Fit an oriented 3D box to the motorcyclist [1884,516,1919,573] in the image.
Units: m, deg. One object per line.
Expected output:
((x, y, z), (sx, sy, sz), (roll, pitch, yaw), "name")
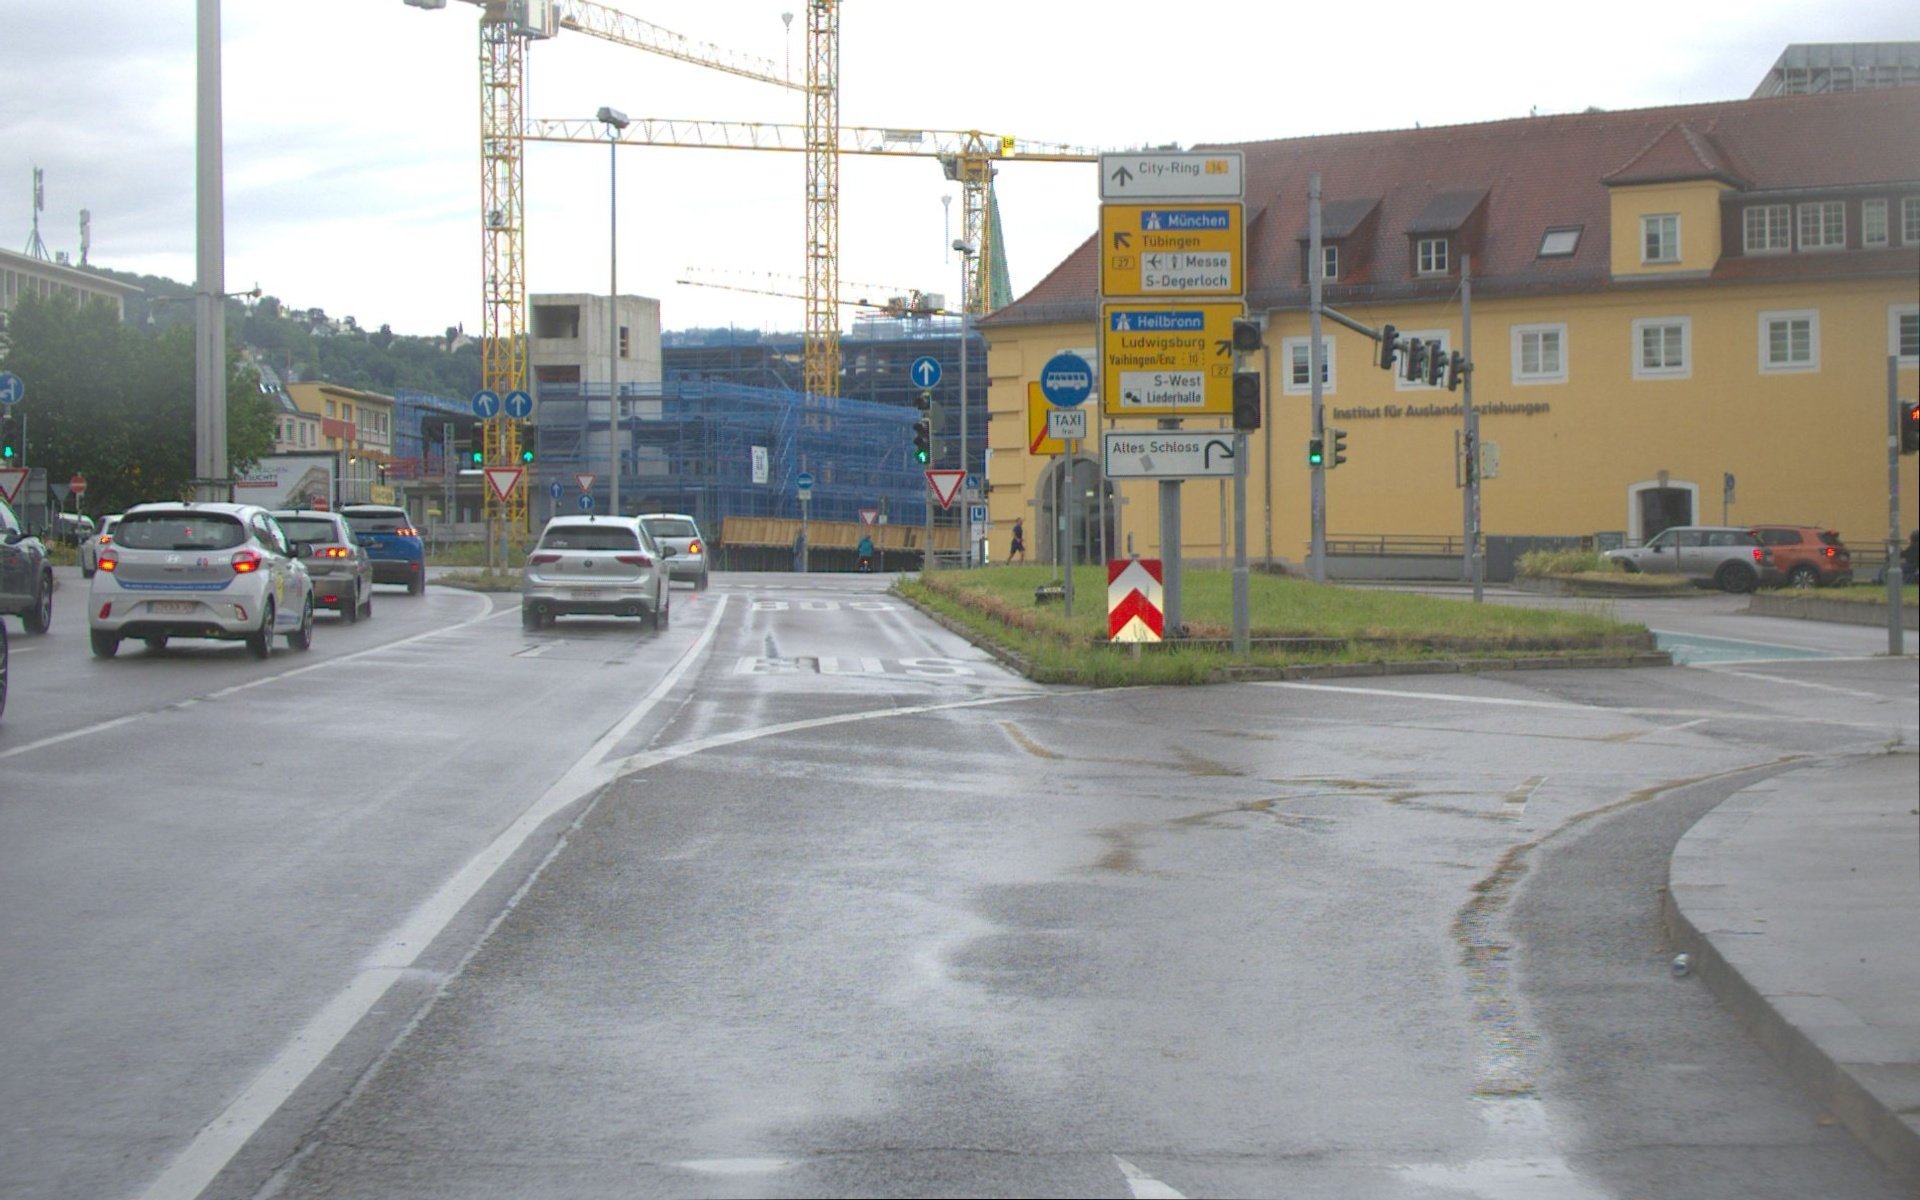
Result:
((21.732, -1.267, 78.632), (1.076, 1.269, 0.691), (1, -1, 21), "motorcyclist")

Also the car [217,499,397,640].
((-8.498, -0.367, 44.992), (1.716, 1.722, 3.494), (1, -1, -1), "car")

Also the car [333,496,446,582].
((-9.835, -1.033, 59.426), (1.493, 1.365, 3.033), (1, -1, -1), "car")

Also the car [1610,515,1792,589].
((15.589, -0.998, 72.334), (3.406, 1.477, 1.832), (0, -1, 25), "car")

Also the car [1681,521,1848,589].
((18.125, -1.009, 77.442), (3.403, 1.467, 1.650), (0, -1, 23), "car")

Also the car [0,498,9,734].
((-6.988, 0.126, 20.123), (1.830, 1.489, 3.399), (1, 1, 1), "car")

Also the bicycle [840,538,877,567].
((-3.739, -1.755, 126.579), (0.880, 1.006, 1.993), (1, -1, -16), "bicycle")

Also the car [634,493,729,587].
((-5.461, -1.183, 67.050), (1.667, 1.735, 3.288), (1, 2, -7), "car")

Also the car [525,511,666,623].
((-4.672, -0.406, 44.254), (1.444, 1.354, 2.412), (1, -1, 2), "car")

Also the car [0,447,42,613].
((-10.787, -0.748, 36.267), (1.464, 1.700, 3.141), (1, -1, -3), "car")

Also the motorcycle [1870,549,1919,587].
((21.876, -0.737, 78.726), (1.966, 0.850, 0.545), (1, -1, 22), "motorcycle")

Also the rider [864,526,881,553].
((-3.466, -2.395, 136.435), (0.619, 1.035, 0.533), (1, -1, 1), "rider")

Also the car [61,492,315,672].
((-7.526, -0.137, 33.822), (1.880, 1.647, 3.458), (1, -1, -3), "car")

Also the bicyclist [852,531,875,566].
((-3.535, -1.893, 126.183), (0.703, 1.271, 0.635), (1, -1, -16), "bicyclist")

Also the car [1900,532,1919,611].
((22.837, -0.604, 73.681), (4.814, 1.703, 1.995), (0, -1, 42), "car")

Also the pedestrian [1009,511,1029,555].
((1.884, -2.136, 109.484), (0.456, 1.363, 0.443), (0, -1, 38), "pedestrian")
